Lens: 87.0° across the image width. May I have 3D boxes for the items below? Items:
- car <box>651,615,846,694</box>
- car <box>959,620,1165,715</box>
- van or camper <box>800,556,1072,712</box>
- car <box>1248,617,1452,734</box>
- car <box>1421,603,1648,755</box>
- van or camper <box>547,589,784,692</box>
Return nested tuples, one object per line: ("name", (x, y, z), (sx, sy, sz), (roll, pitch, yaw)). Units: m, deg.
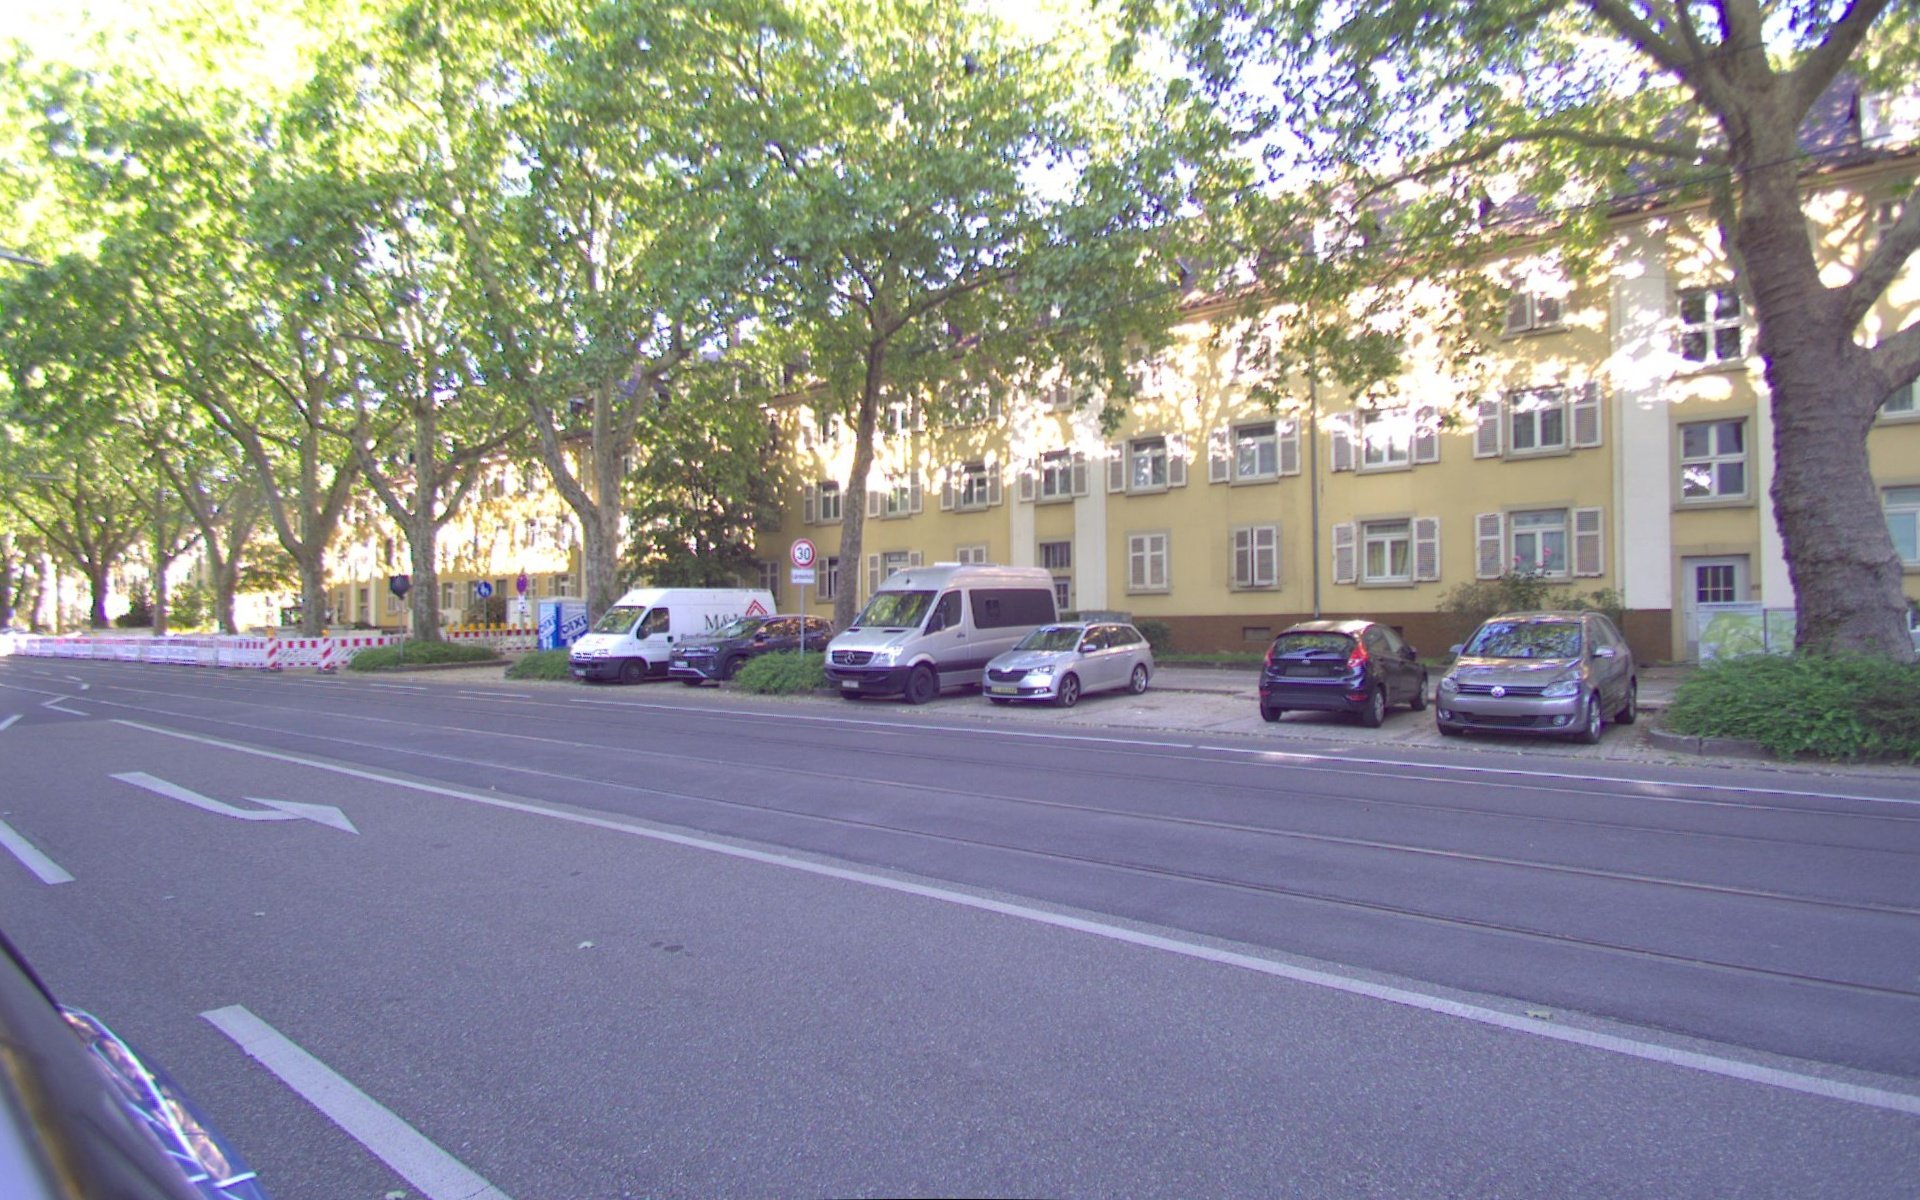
("car", (-4.977, 1.225, 24.335), (1.693, 1.645, 4.481), (-1, 0, 41))
("car", (1.997, 1.144, 18.780), (1.693, 1.457, 4.221), (-1, 0, 41))
("van or camper", (-0.273, 0.568, 20.339), (2.154, 2.668, 5.857), (-1, 0, 40))
("car", (6.010, 1.032, 15.382), (1.693, 1.457, 3.811), (-1, 0, 41))
("car", (7.665, 0.883, 13.322), (1.844, 1.631, 4.028), (-1, 0, 41))
("van or camper", (-7.492, 0.922, 26.347), (2.154, 2.403, 5.690), (-1, 0, 40))
